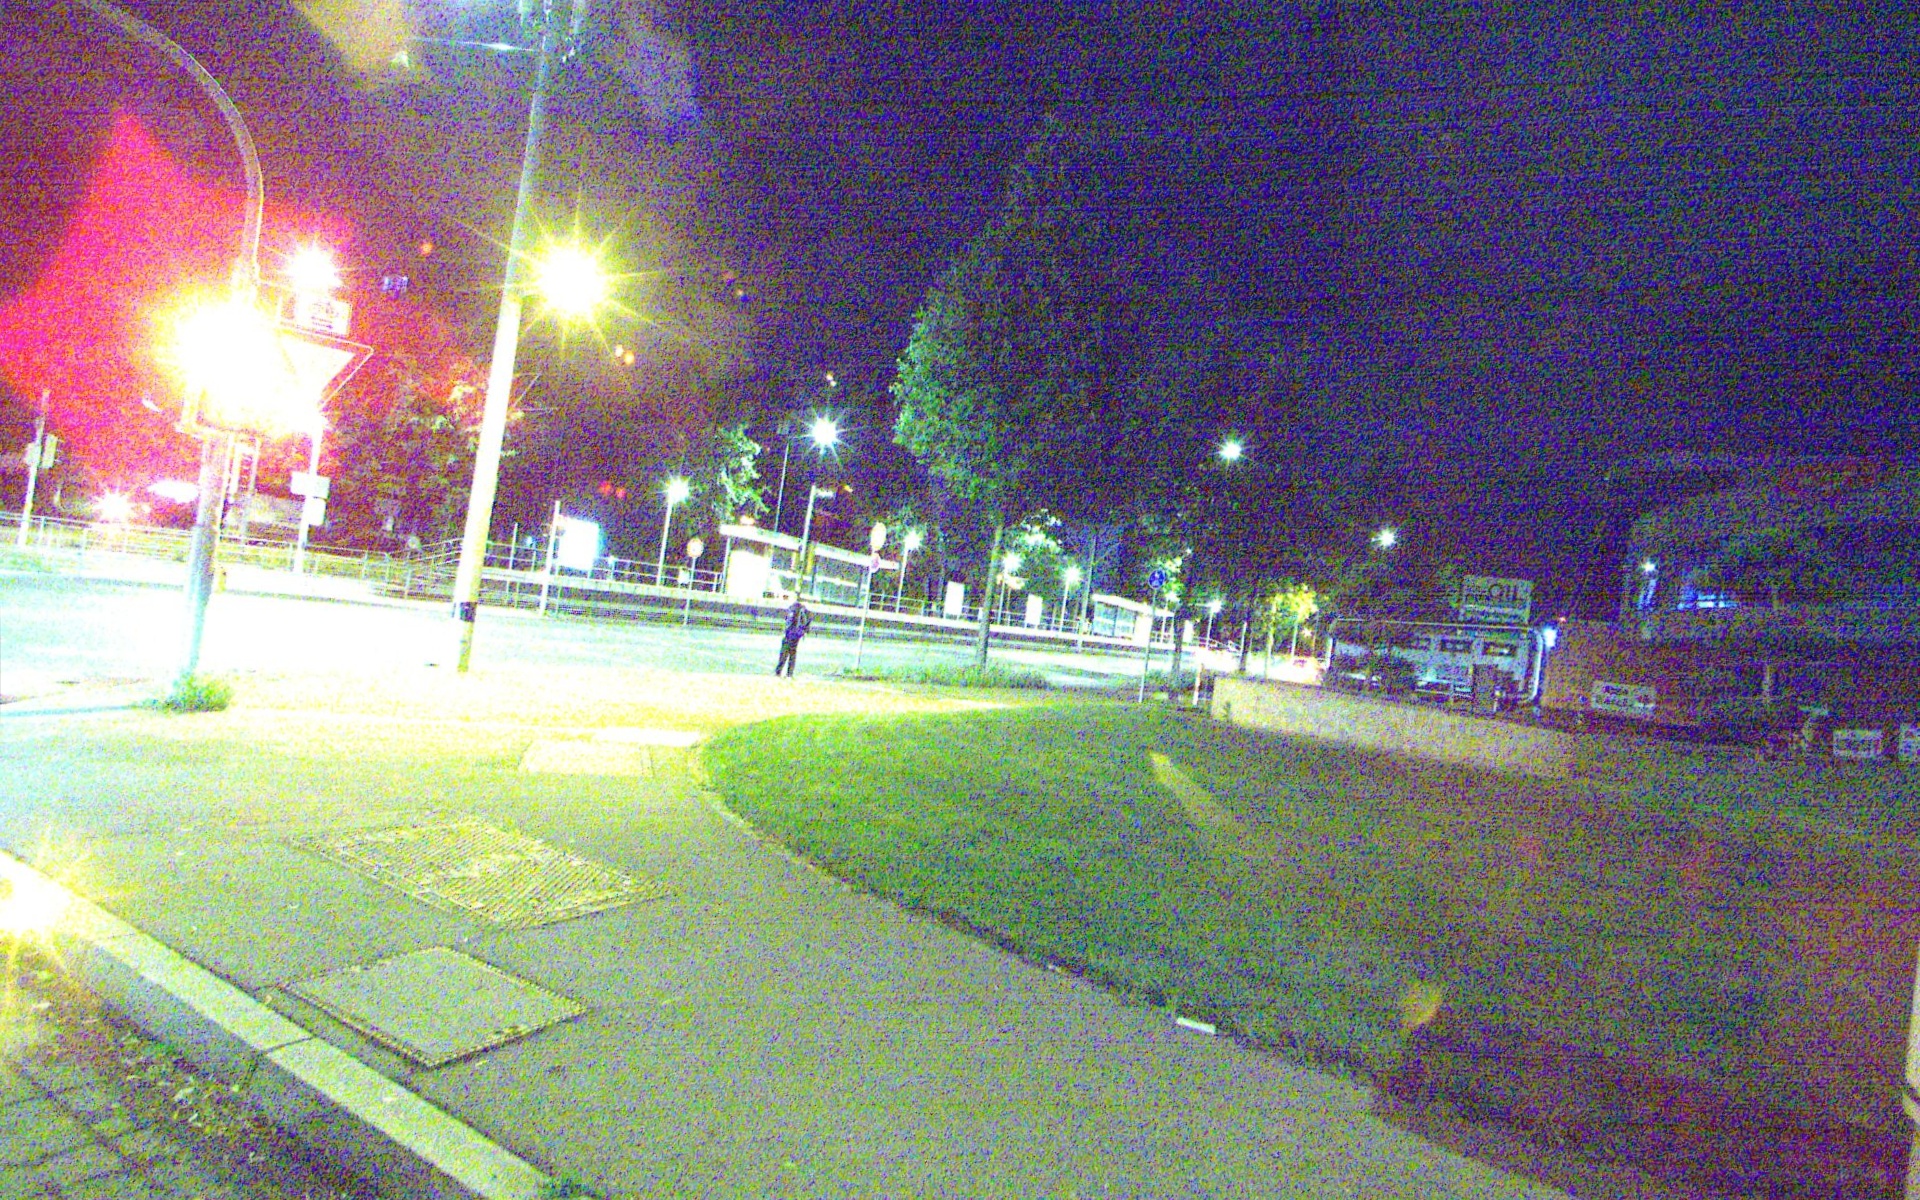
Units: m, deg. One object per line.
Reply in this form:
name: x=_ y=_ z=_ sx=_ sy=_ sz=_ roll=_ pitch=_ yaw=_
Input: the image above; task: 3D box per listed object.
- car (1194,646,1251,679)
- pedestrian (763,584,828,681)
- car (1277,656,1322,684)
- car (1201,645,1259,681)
car: x=16.093 y=3.854 z=61.599 sx=1.784 sy=1.584 sz=4.514 roll=10 pitch=0 yaw=35
pedestrian: x=-3.181 y=0.630 z=19.459 sx=0.820 sy=1.767 sz=0.755 roll=5 pitch=1 yaw=32
car: x=22.633 y=4.686 z=67.000 sx=1.833 sy=1.510 sz=4.477 roll=8 pitch=0 yaw=31
car: x=14.405 y=3.377 z=53.560 sx=1.660 sy=1.525 sz=3.833 roll=9 pitch=0 yaw=34
